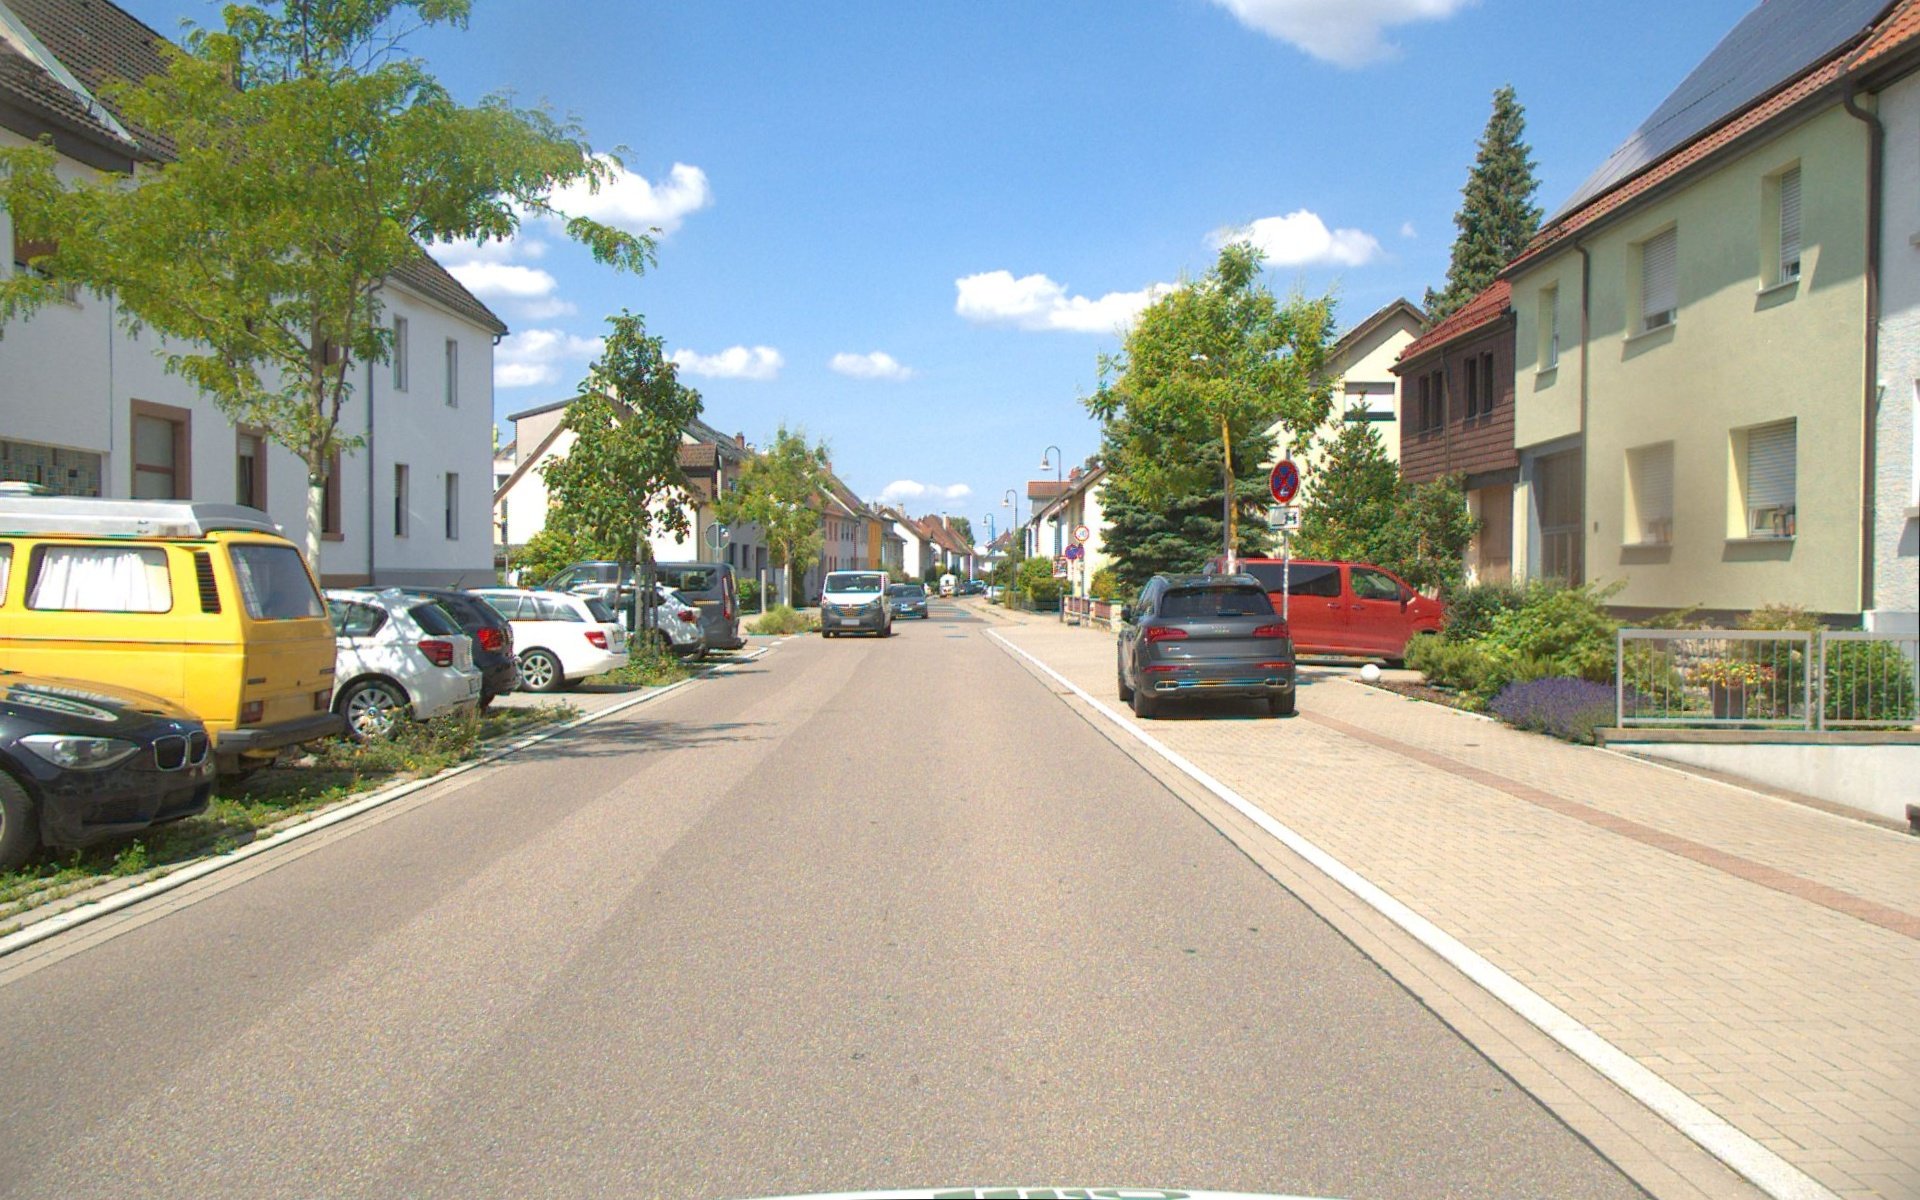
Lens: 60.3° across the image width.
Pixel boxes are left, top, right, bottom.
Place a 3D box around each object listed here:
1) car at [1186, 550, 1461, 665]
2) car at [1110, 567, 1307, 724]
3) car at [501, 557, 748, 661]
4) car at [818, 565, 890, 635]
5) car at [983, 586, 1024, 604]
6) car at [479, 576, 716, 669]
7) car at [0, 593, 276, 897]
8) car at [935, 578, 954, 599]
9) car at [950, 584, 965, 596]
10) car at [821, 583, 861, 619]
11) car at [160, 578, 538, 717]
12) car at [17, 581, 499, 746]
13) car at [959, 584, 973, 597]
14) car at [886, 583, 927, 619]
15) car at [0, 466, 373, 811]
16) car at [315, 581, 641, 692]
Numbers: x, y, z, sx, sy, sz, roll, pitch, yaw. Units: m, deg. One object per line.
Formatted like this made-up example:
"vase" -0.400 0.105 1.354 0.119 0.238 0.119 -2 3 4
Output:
"car" 6.575 0.140 30.239 4.526 1.926 2.020 1 -1 -2
"car" 2.956 0.465 20.569 1.826 1.664 4.447 -2 1 1
"car" -6.762 0.182 33.742 4.605 1.957 1.937 1 0 -1
"car" -3.149 0.000 49.875 1.982 1.984 4.896 0 0 -2
"car" 3.794 -0.407 143.847 3.451 1.489 1.628 2 0 -1
"car" -6.728 0.412 31.046 4.101 1.596 1.772 1 0 -5
"car" -6.111 0.703 9.108 3.928 1.485 1.755 1 0 -1
"car" -1.800 -1.340 197.651 2.002 2.352 3.772 1 0 3
"car" -0.333 -1.347 219.844 1.656 1.530 3.772 1 0 3
"car" -5.645 0.039 78.926 1.780 1.458 4.137 4 2 -3
"car" -6.925 0.542 19.100 3.808 1.493 1.655 1 0 -10
"car" -6.699 0.596 16.190 3.997 1.493 1.750 1 0 -10
"car" 0.859 -1.292 227.337 1.656 1.689 3.772 1 0 3
"car" -2.383 0.026 73.796 1.727 1.549 4.047 -2 0 -2
"car" -6.720 0.220 11.695 4.417 2.215 1.925 1 0 -1
"car" -6.963 0.514 24.203 4.206 1.493 1.774 1 0 1
